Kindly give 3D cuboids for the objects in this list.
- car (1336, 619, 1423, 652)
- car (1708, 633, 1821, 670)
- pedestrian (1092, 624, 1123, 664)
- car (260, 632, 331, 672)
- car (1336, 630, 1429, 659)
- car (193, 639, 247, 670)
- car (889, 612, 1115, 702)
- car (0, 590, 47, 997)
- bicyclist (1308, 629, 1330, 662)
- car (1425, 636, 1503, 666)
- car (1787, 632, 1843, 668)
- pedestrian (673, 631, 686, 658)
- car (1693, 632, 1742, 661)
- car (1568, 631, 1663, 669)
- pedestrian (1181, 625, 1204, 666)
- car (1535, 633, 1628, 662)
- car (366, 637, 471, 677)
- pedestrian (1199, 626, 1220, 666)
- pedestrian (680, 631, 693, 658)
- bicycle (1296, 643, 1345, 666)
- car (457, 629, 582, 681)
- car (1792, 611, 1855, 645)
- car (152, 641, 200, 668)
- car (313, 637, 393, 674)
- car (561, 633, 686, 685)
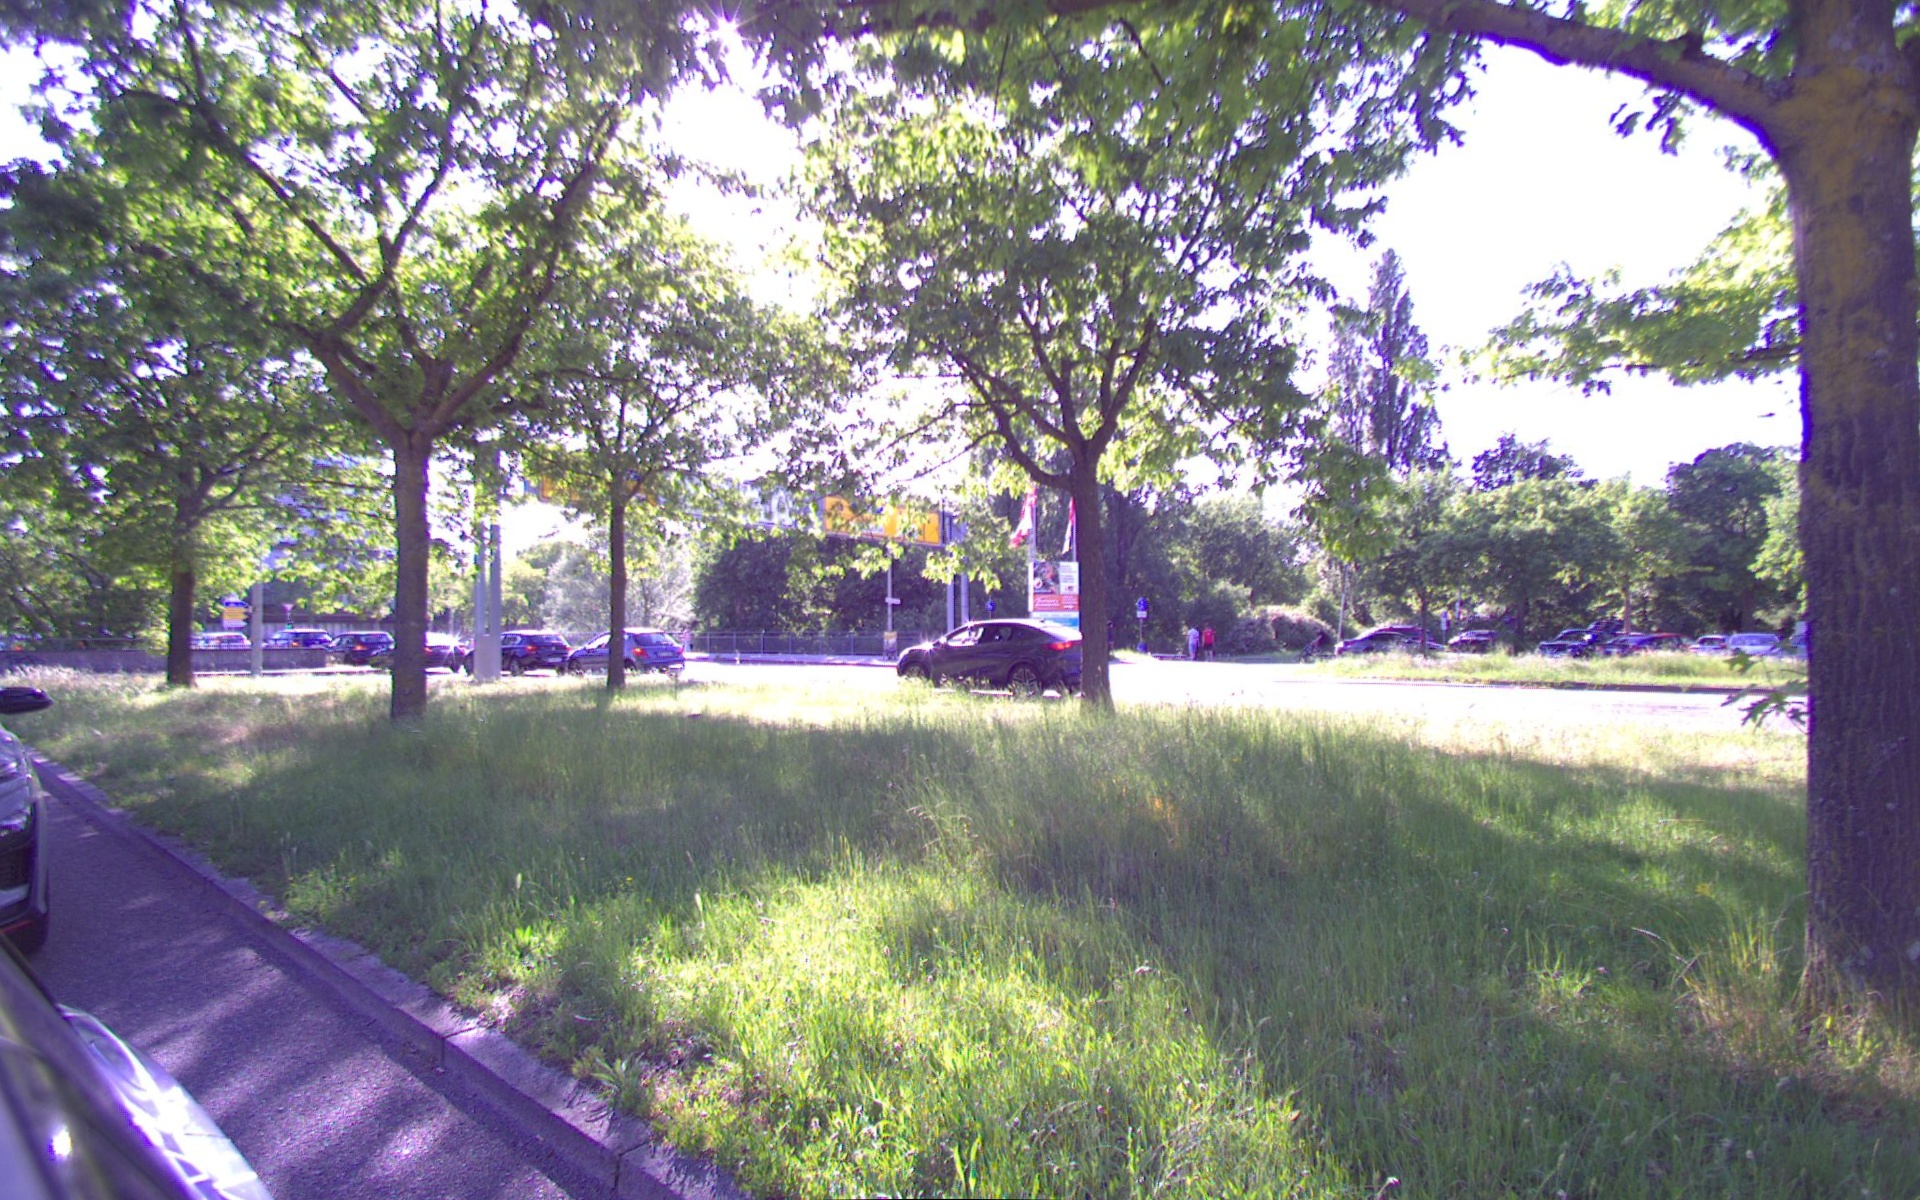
[{"bbox_3d":[22.425,1.901,54.287,3.959,1.678,1.992,-1,-2,13],"label":"car"},{"bbox_3d":[26.891,1.700,33.910,2.783,1.165,1.327,-1,-2,32],"label":"car"},{"bbox_3d":[6.163,1.811,42.306,0.985,1.642,0.904,-2,-2,33],"label":"pedestrian"},{"bbox_3d":[-28.153,2.211,42.856,3.195,1.571,1.433,-4,-3,34],"label":"car"},{"bbox_3d":[21.134,2.205,50.757,3.957,1.385,1.826,-1,-2,11],"label":"car"},{"bbox_3d":[-35.070,2.591,47.934,2.875,1.350,1.214,-5,-4,34],"label":"car"},{"bbox_3d":[0.785,1.120,20.897,4.454,1.660,1.809,-2,-2,38],"label":"car"},{"bbox_3d":[-5.627,0.769,4.602,3.986,1.544,1.730,-2,-2,41],"label":"car"},{"bbox_3d":[16.464,2.087,46.439,0.839,1.500,0.678,-1,-2,13],"label":"bicyclist"},{"bbox_3d":[31.556,3.198,63.484,3.961,1.807,1.991,-1,-2,14],"label":"car"},{"bbox_3d":[35.618,2.068,42.218,1.617,1.430,3.038,-2,-2,38],"label":"car"},{"bbox_3d":[-15.430,2.441,55.709,0.544,1.510,0.416,-2,-2,33],"label":"pedestrian"},{"bbox_3d":[32.976,1.987,44.113,1.616,1.187,3.040,-2,-2,35],"label":"car"},{"bbox_3d":[23.538,1.788,36.434,2.783,1.315,1.327,-2,-2,32],"label":"car"},{"bbox_3d":[10.874,2.118,47.374,0.846,1.881,0.902,-1,0,-1],"label":"pedestrian"},{"bbox_3d":[23.359,1.777,38.117,2.774,1.072,1.324,-1,-2,23],"label":"car"},{"bbox_3d":[-19.220,1.991,35.858,4.058,1.323,1.604,-2,-2,35],"label":"car"},{"bbox_3d":[11.596,2.126,47.124,0.742,1.802,0.905,-1,0,1],"label":"pedestrian"},{"bbox_3d":[-15.162,2.457,56.091,0.544,1.510,0.416,-2,-2,33],"label":"pedestrian"},{"bbox_3d":[16.527,2.490,46.384,2.016,1.060,0.684,-1,-2,13],"label":"bicycle"},{"bbox_3d":[-14.162,1.730,32.454,4.215,1.562,1.853,-2,-2,37],"label":"car"},{"bbox_3d":[43.893,1.418,51.396,3.694,1.681,1.895,1,-2,-41],"label":"car"},{"bbox_3d":[-40.078,2.785,51.722,2.761,1.270,1.186,-4,-3,35],"label":"car"},{"bbox_3d":[-23.412,2.128,39.029,3.195,1.349,1.464,-3,-2,35],"label":"car"},{"bbox_3d":[-9.596,1.649,28.795,3.601,1.374,1.543,-2,-2,35],"label":"car"}]
